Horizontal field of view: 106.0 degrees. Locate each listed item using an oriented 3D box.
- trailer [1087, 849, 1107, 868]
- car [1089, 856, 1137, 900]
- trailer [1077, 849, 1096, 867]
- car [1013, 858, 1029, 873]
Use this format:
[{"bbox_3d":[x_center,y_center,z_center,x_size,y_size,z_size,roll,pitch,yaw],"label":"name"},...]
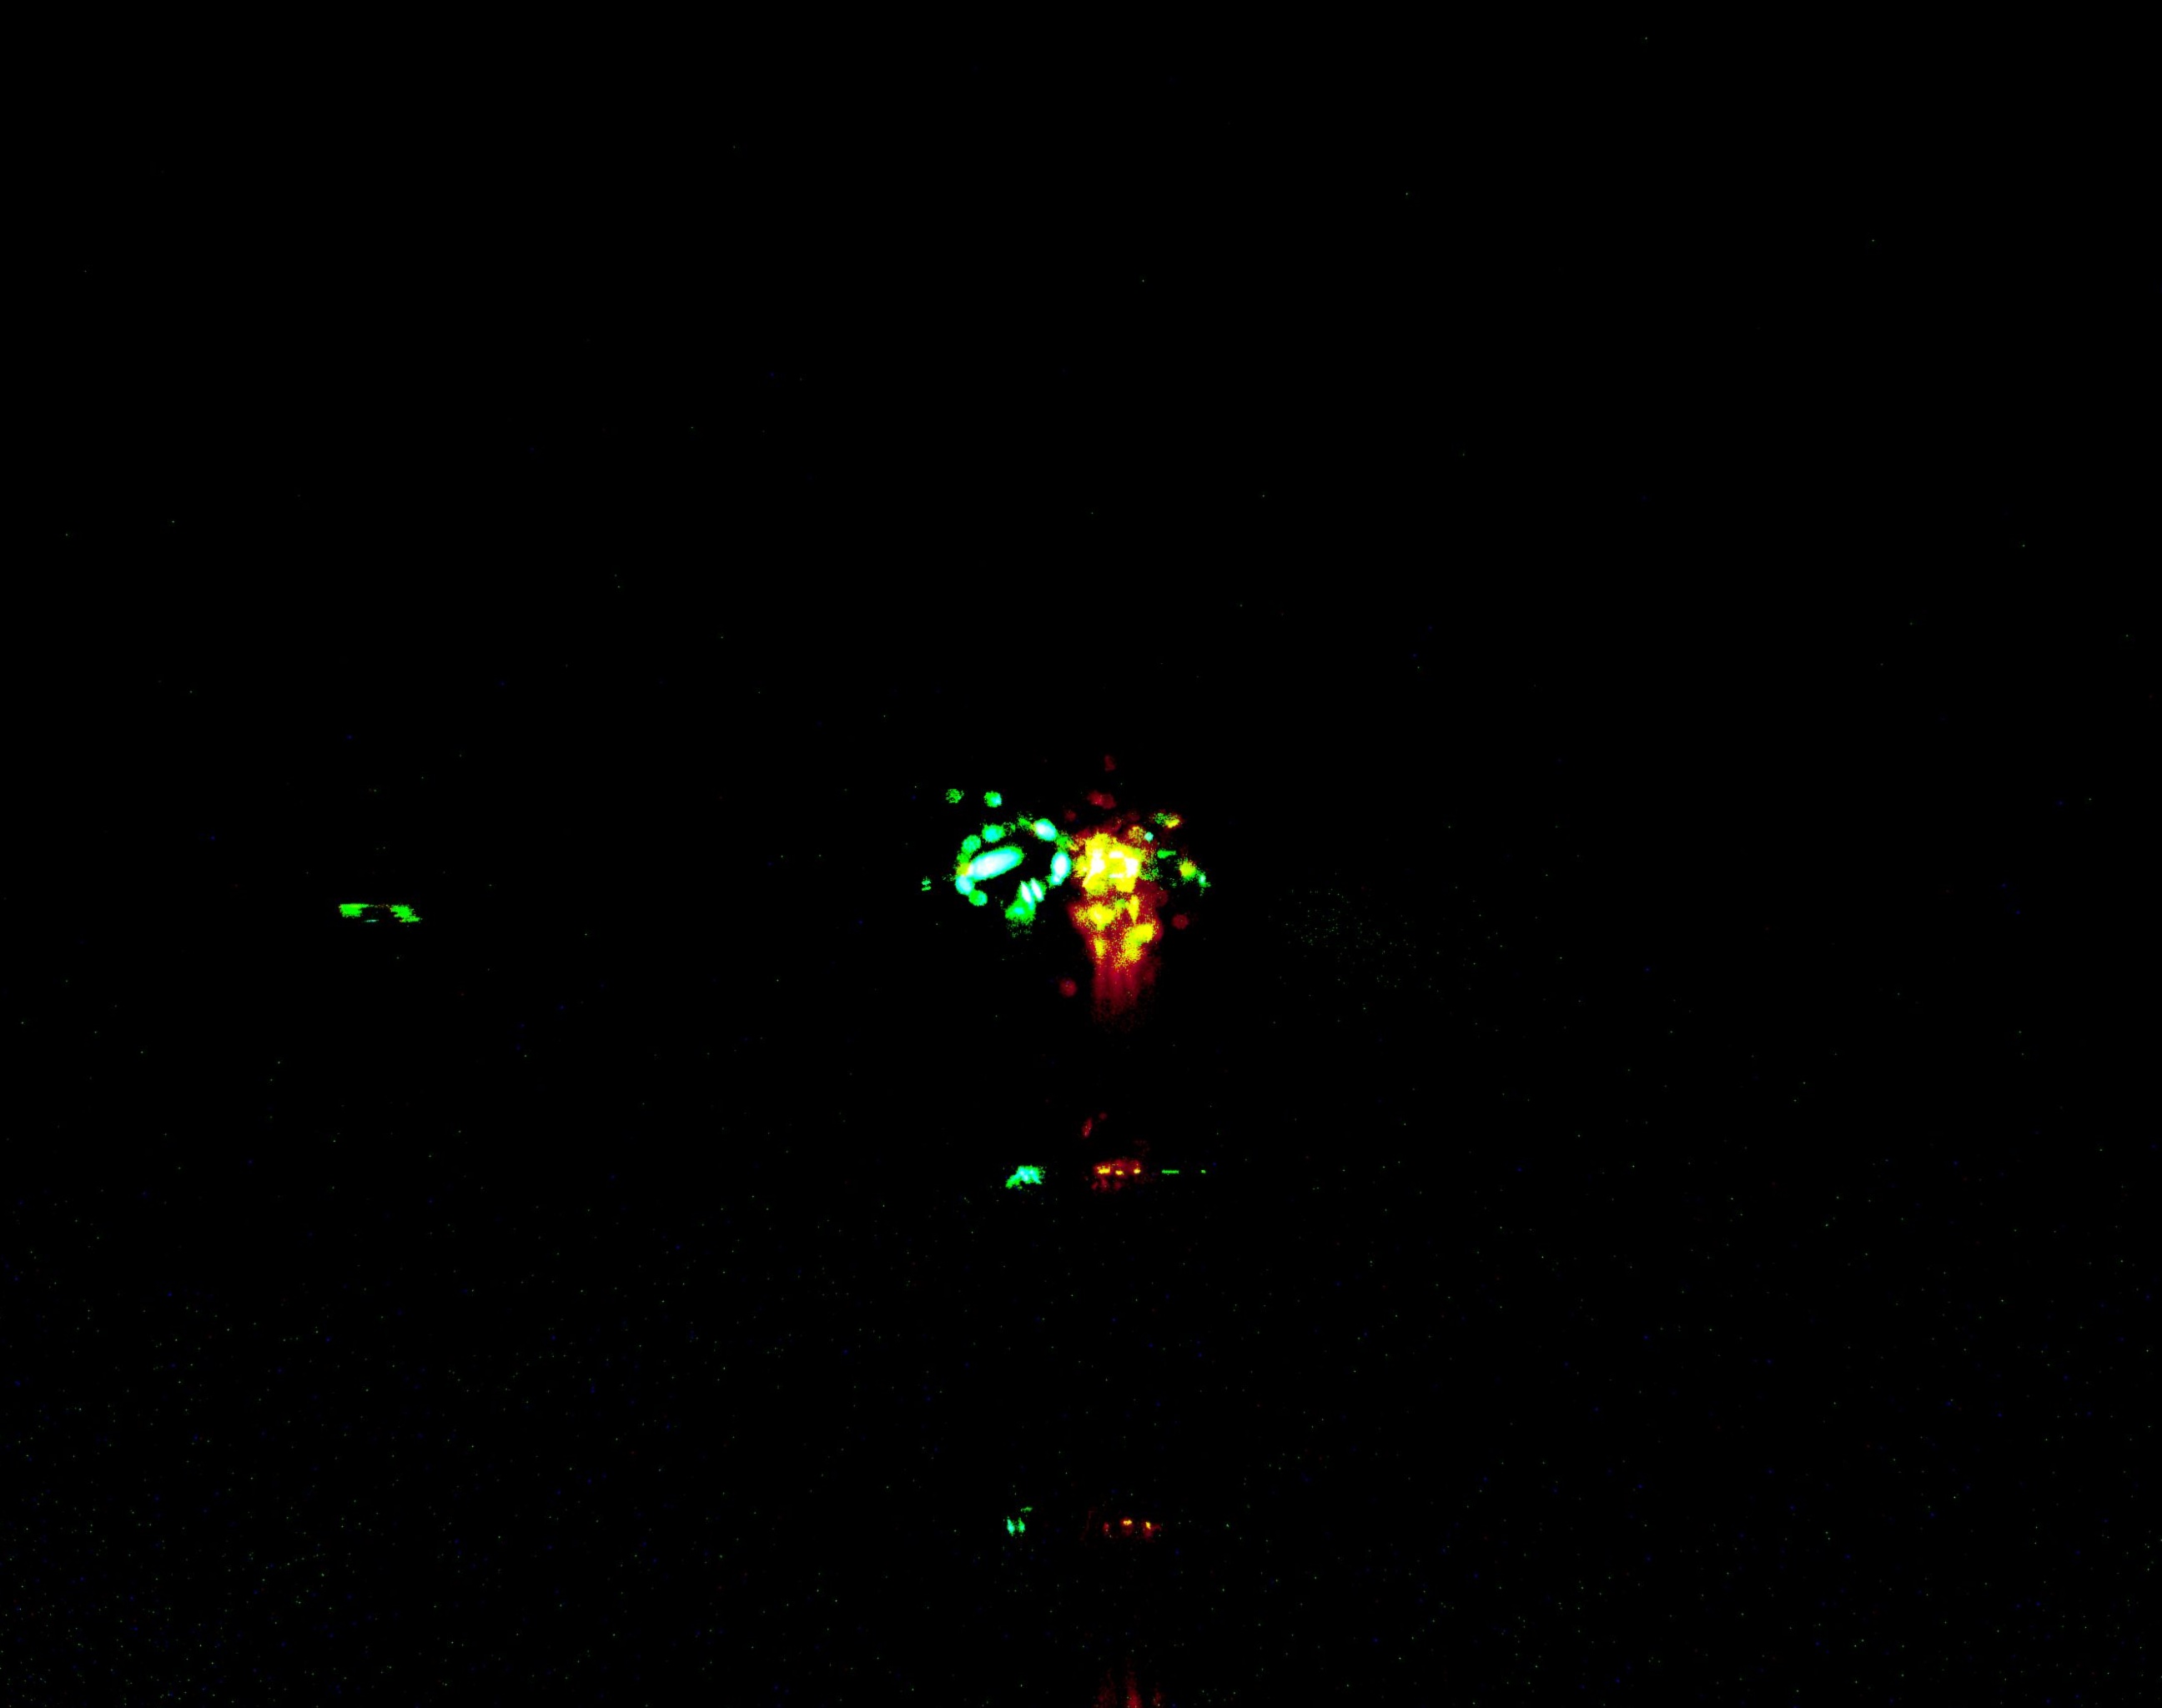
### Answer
[{"bbox_3d":[2.058,0.577,106.260,1.607,2.352,4.410,0,-1,-13],"label":"trailer"},{"bbox_3d":[1.338,0.938,33.563,1.794,1.628,3.618,-2,0,3],"label":"car"},{"bbox_3d":[0.719,0.598,110.985,1.632,2.365,4.631,0,-1,-14],"label":"trailer"},{"bbox_3d":[-7.887,1.509,107.168,1.973,1.778,3.994,-1,-1,-4],"label":"car"}]
